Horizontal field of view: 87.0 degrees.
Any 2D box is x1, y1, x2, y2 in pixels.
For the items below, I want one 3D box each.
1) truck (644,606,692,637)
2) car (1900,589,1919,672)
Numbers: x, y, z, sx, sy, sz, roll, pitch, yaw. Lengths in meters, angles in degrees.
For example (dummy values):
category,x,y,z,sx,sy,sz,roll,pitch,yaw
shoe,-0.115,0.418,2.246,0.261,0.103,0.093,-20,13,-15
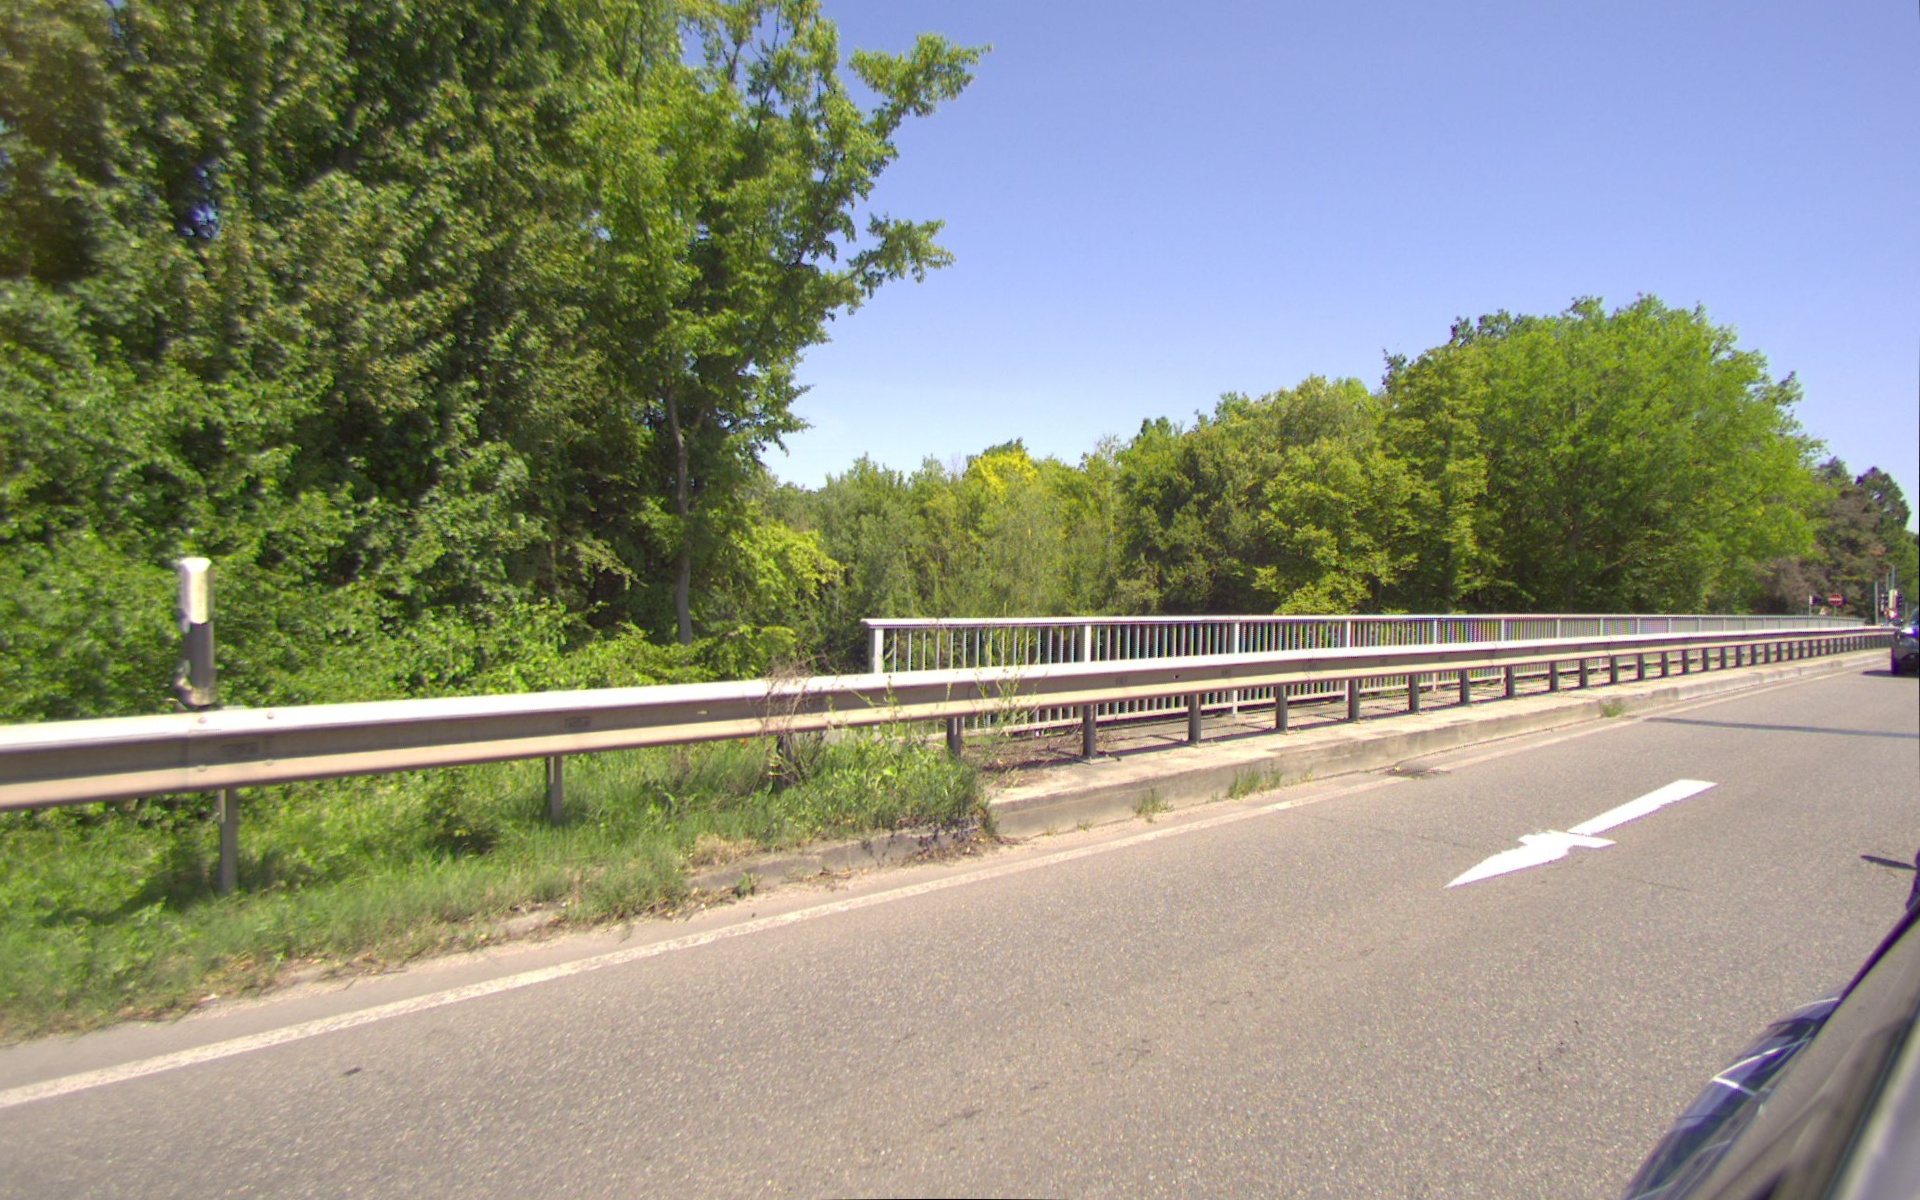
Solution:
category,x,y,z,sx,sy,sz,roll,pitch,yaw
truck,-31.801,2.307,110.362,2.089,3.121,4.897,2,1,32
car,21.691,0.631,21.699,3.930,1.706,1.847,0,1,-41
